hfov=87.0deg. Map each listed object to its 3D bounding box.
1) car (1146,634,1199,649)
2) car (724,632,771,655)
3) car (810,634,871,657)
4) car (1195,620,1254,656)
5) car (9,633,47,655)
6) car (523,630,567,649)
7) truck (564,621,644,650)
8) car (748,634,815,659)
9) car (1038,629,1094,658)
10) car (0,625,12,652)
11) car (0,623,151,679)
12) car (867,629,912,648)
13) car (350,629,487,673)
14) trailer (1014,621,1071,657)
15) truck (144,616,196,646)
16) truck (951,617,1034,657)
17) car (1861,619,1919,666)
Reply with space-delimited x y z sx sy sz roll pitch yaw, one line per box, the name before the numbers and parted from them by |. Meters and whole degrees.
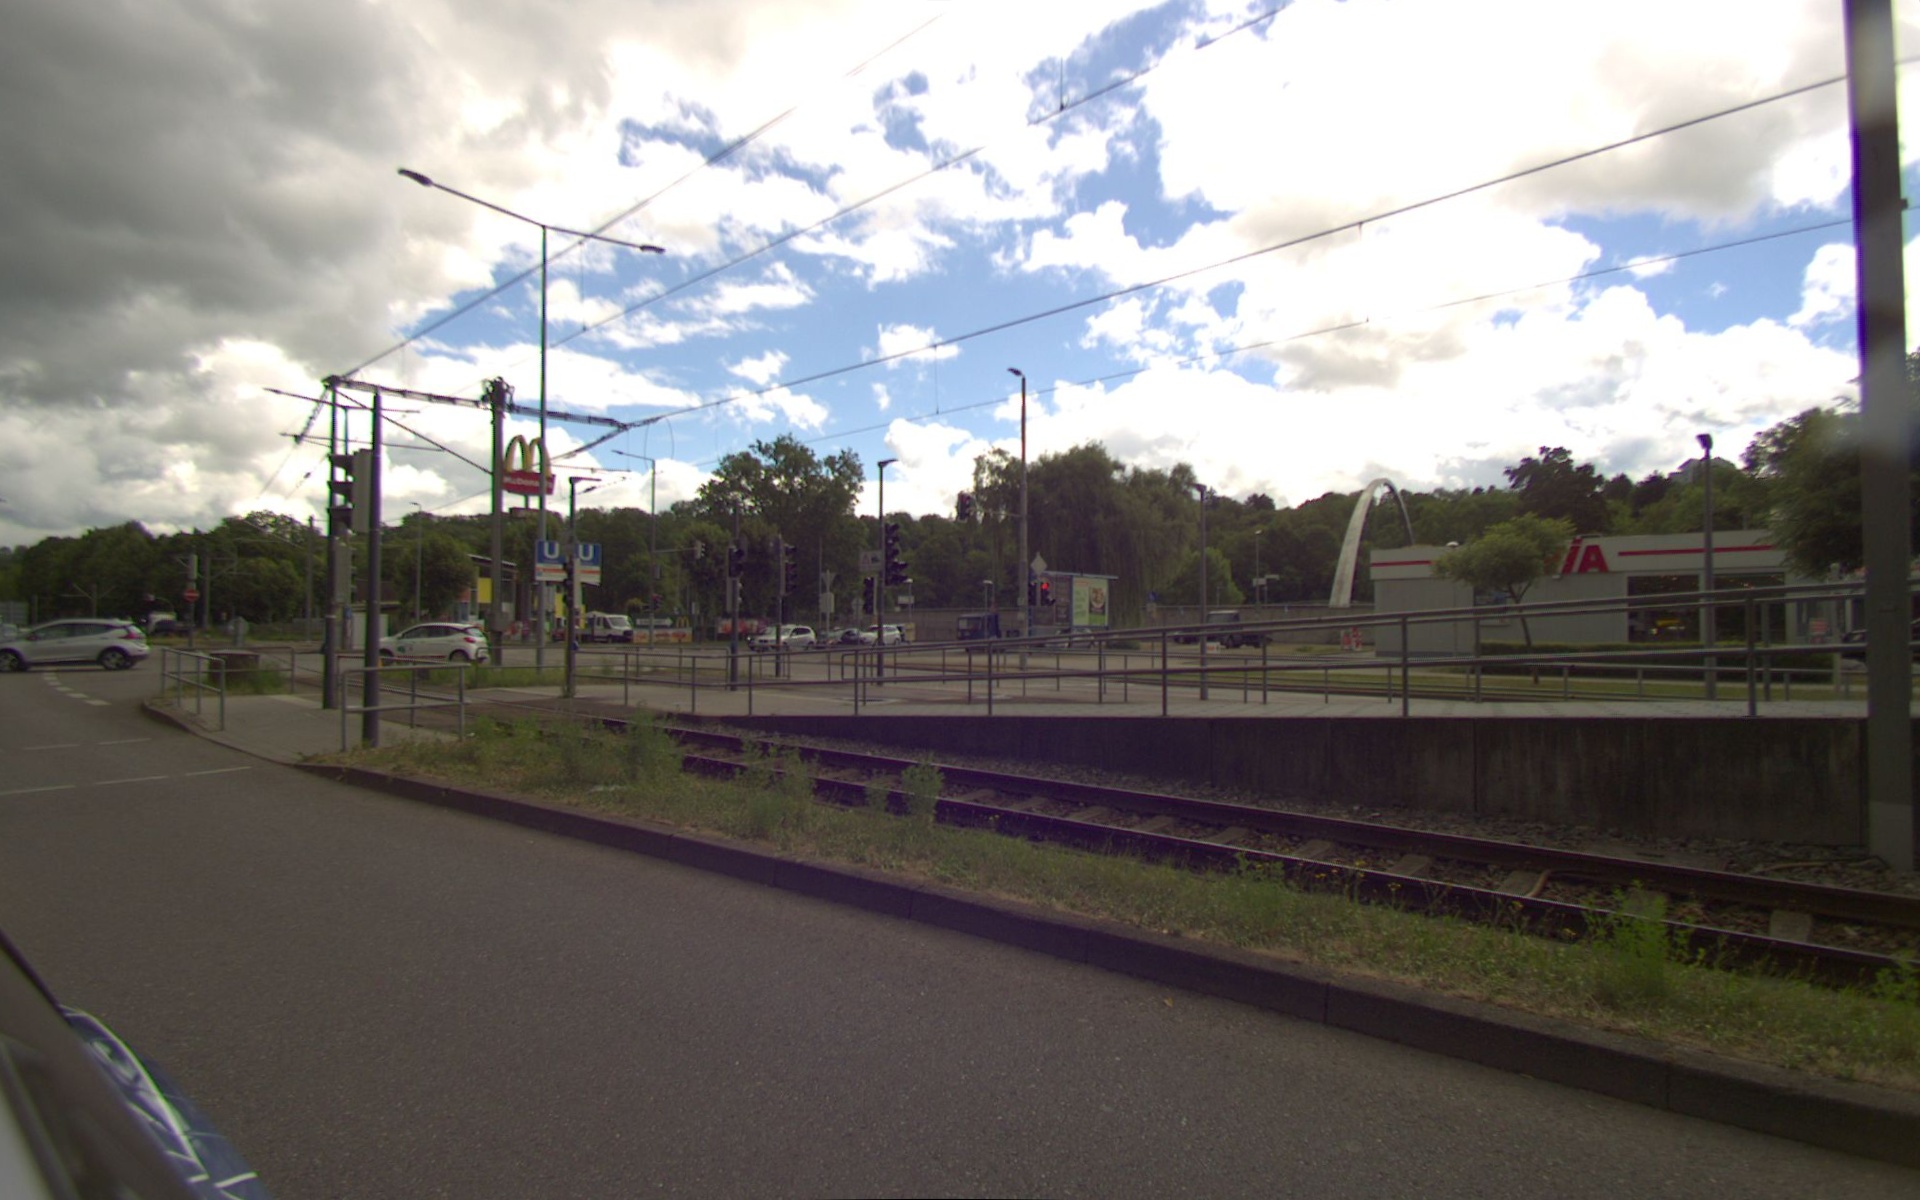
car | 16.935 3.328 80.542 3.873 1.130 1.558 0 -3 30
car | -13.662 2.803 65.345 1.776 1.443 3.630 0 -2 9
car | -7.757 2.945 66.190 1.790 1.443 4.239 -1 -2 31
car | 16.067 2.322 61.362 1.844 2.067 4.324 -1 -3 39
car | -69.533 3.252 75.562 1.803 1.564 4.006 3 -3 -40
car | -35.874 3.428 87.388 3.999 1.532 1.898 -1 -4 42
truck | -25.493 2.528 72.384 6.192 1.920 2.566 -1 -3 40
car | -10.777 2.802 61.427 1.787 1.443 4.378 -1 -2 26
car | 6.714 2.719 63.775 1.753 1.756 3.808 -1 -2 38
car | -56.372 2.198 58.431 1.968 1.547 4.008 3 -3 -38
car | -28.031 1.565 31.587 4.053 1.653 1.756 1 -2 -29
car | -5.664 3.098 81.812 1.724 1.566 3.597 -1 -2 36
car | -18.452 1.741 34.617 3.769 1.465 1.635 0 -2 -7
trailer | 5.426 2.581 66.425 1.559 2.275 4.334 -1 -4 39
truck | -99.800 3.873 127.804 8.694 3.587 3.391 -1 -4 41
truck | 2.211 2.451 66.576 2.385 2.513 5.746 -1 -2 41
car | 28.576 1.232 29.329 3.634 1.360 1.596 -2 -2 42
